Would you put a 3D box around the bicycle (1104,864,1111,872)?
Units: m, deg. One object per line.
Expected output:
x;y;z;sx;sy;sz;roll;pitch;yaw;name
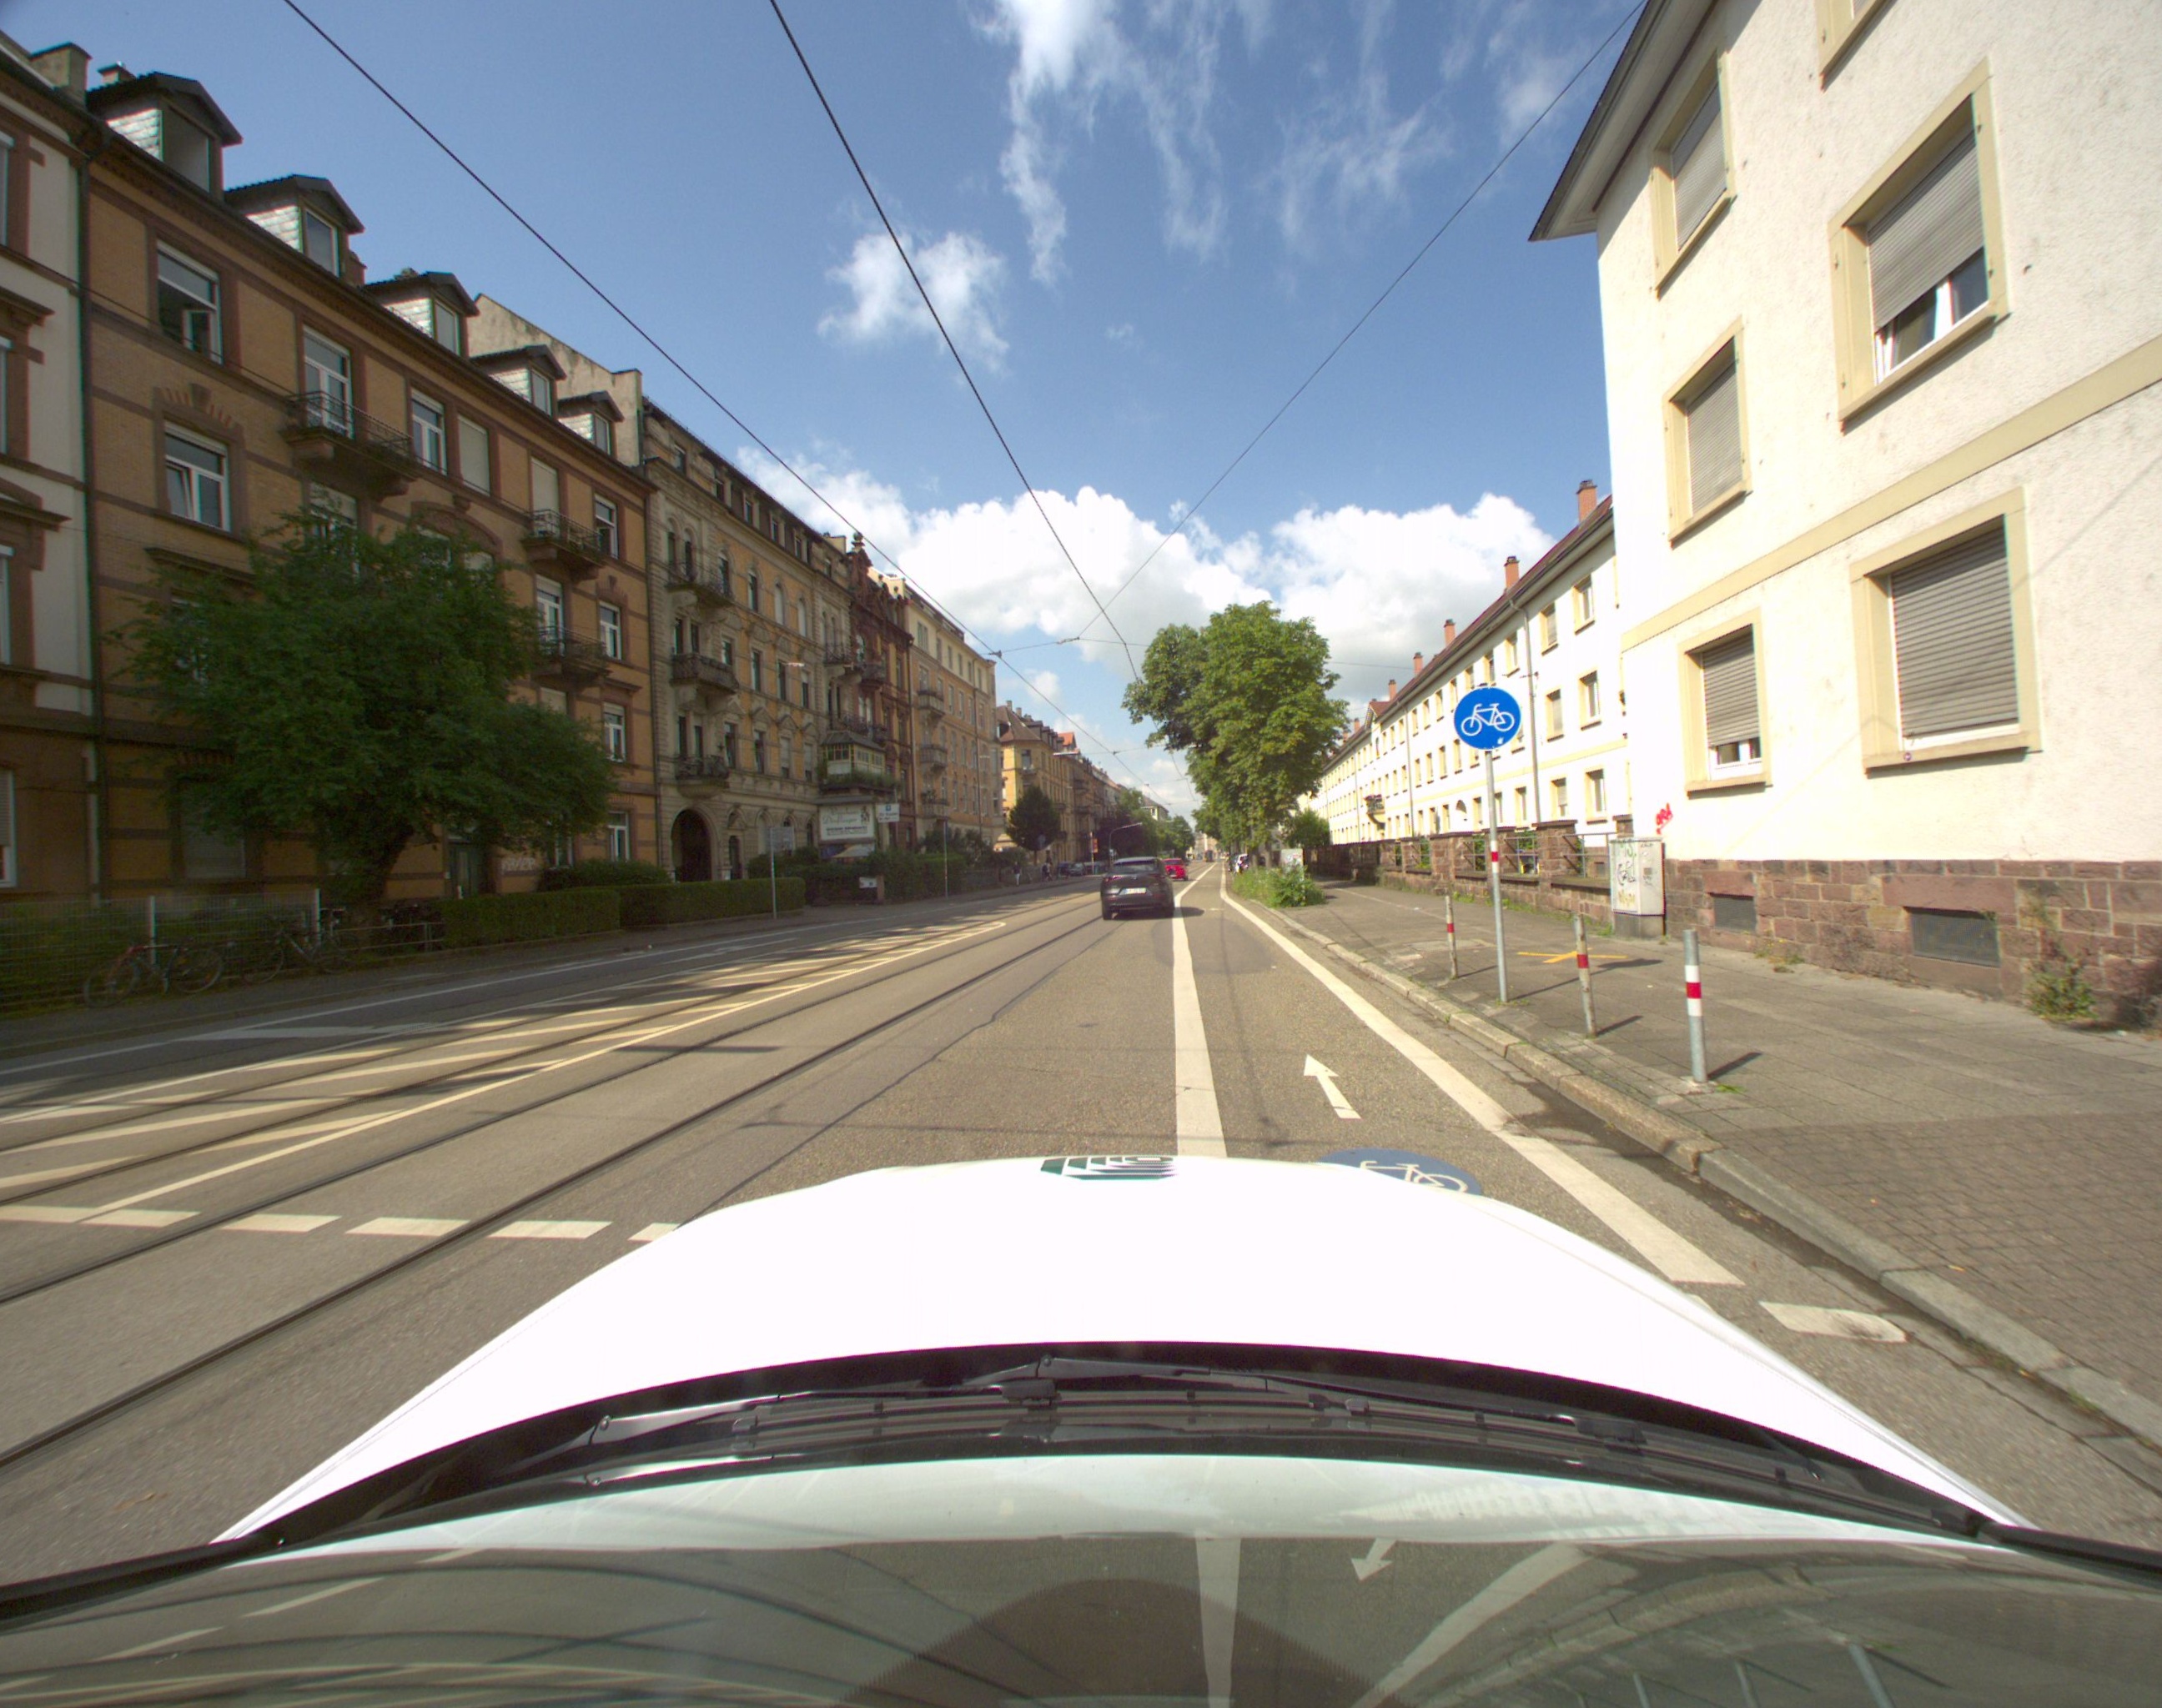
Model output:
3.230;1.716;99.339;0.527;0.946;1.973;-4;-1;10;bicycle

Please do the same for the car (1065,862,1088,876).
-0.484;1.706;92.510;1.675;1.459;4.777;-4;-1;10;car

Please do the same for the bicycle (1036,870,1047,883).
-3.158;1.766;64.573;0.419;0.976;1.954;-3;-1;9;bicycle

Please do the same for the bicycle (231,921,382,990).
-13.096;1.689;13.856;0.555;0.932;1.832;-3;-1;13;bicycle

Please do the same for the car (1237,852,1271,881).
9.788;0.691;46.292;1.651;1.521;4.298;-3;-1;9;car

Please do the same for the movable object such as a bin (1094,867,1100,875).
1.831;1.973;94.842;0.522;0.906;0.637;-4;-1;8;movable object such as a bin

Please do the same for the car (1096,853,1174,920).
1.507;0.775;21.367;1.711;1.526;3.597;-3;0;8;car

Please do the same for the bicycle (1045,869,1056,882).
-2.514;1.779;67.300;0.419;0.976;1.954;-3;-1;9;bicycle

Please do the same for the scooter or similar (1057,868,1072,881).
-1.590;1.937;77.810;1.365;1.235;0.401;-2;-1;-19;scooter or similar

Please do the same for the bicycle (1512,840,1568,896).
10.353;0.313;18.418;0.502;1.201;1.494;-3;-1;7;bicycle

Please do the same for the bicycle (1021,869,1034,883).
-3.932;1.629;60.009;0.419;0.932;1.954;-3;-1;9;bicycle

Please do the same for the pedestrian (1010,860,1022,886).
-4.347;1.284;54.645;0.485;1.703;1.154;-3;-1;8;pedestrian

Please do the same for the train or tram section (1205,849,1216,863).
38.016;0.658;239.953;2.558;3.772;13.052;-3;0;7;train or tram section

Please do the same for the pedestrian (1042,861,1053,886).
-2.373;1.376;58.019;0.530;1.760;1.108;-1;-1;9;pedestrian

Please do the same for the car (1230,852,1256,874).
13.074;0.739;65.929;1.851;1.653;4.650;-3;-1;9;car

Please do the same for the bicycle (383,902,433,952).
-16.279;1.762;19.705;1.292;1.131;0.500;-4;-1;31;bicycle

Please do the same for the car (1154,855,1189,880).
5.957;0.865;53.199;1.981;1.529;4.011;-1;-1;10;car

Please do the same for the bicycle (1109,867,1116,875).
3.964;2.125;102.703;0.527;0.946;1.973;-4;-1;10;bicycle

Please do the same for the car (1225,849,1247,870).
14.366;0.513;75.634;1.816;1.782;4.746;-4;-1;10;car

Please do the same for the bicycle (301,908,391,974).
-13.708;1.623;15.204;1.297;1.131;0.498;-3;-1;8;bicycle

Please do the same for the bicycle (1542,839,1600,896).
11.048;0.301;18.393;0.502;1.201;1.494;-3;-1;7;bicycle

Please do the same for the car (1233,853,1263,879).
11.274;0.775;55.099;1.732;1.581;4.259;-3;-1;9;car

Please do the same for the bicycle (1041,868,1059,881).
-2.639;1.722;69.176;1.444;0.976;0.405;-4;-1;9;bicycle

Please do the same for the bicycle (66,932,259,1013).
-13.501;1.710;12.062;0.555;0.932;1.832;-3;-1;13;bicycle
